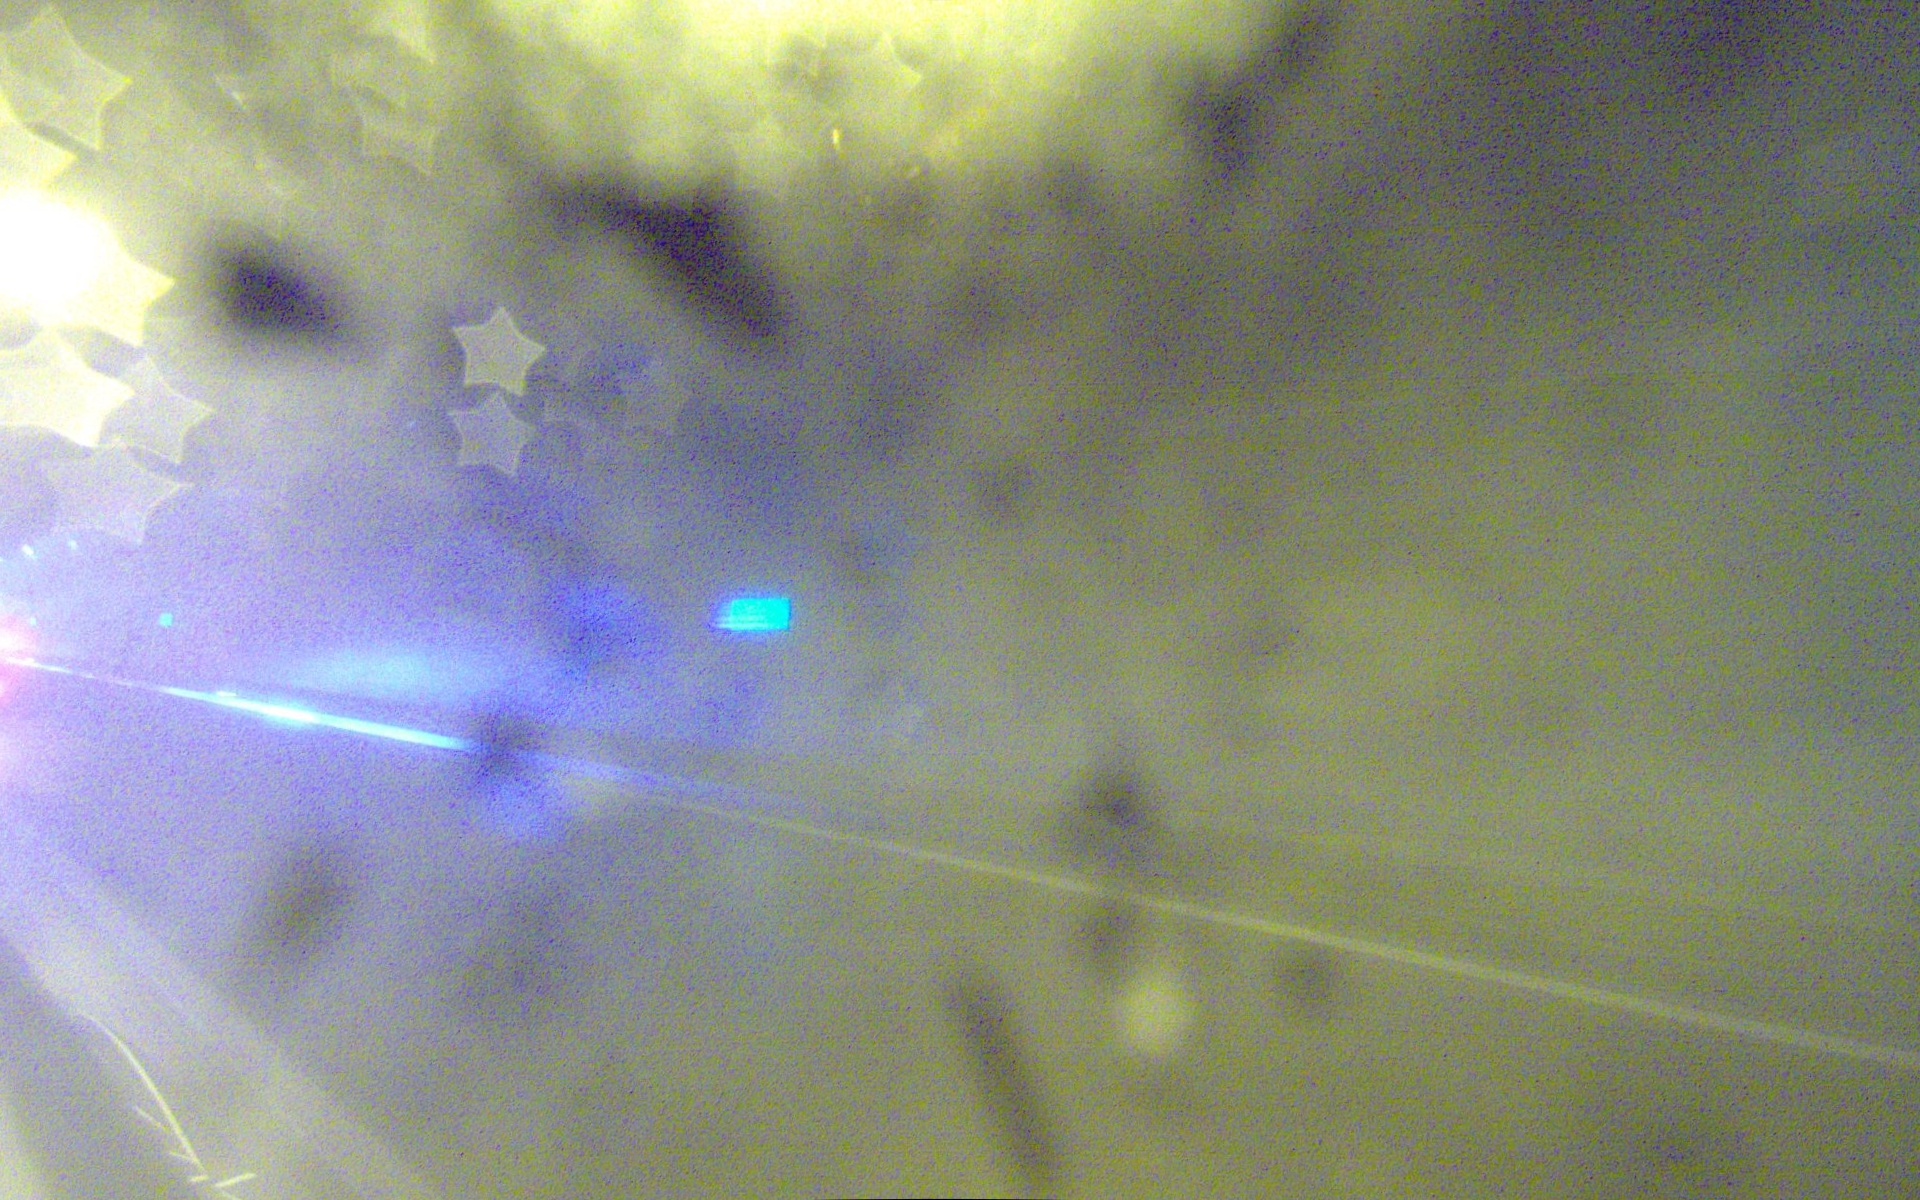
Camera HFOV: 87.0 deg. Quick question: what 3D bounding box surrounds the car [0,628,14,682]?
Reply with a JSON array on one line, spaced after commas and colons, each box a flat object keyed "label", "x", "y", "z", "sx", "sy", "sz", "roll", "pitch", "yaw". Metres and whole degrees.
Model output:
[{"label": "car", "x": -28.191, "y": 1.516, "z": 28.375, "sx": 4.711, "sy": 1.429, "sz": 1.973, "roll": -1, "pitch": -2, "yaw": 41}]
